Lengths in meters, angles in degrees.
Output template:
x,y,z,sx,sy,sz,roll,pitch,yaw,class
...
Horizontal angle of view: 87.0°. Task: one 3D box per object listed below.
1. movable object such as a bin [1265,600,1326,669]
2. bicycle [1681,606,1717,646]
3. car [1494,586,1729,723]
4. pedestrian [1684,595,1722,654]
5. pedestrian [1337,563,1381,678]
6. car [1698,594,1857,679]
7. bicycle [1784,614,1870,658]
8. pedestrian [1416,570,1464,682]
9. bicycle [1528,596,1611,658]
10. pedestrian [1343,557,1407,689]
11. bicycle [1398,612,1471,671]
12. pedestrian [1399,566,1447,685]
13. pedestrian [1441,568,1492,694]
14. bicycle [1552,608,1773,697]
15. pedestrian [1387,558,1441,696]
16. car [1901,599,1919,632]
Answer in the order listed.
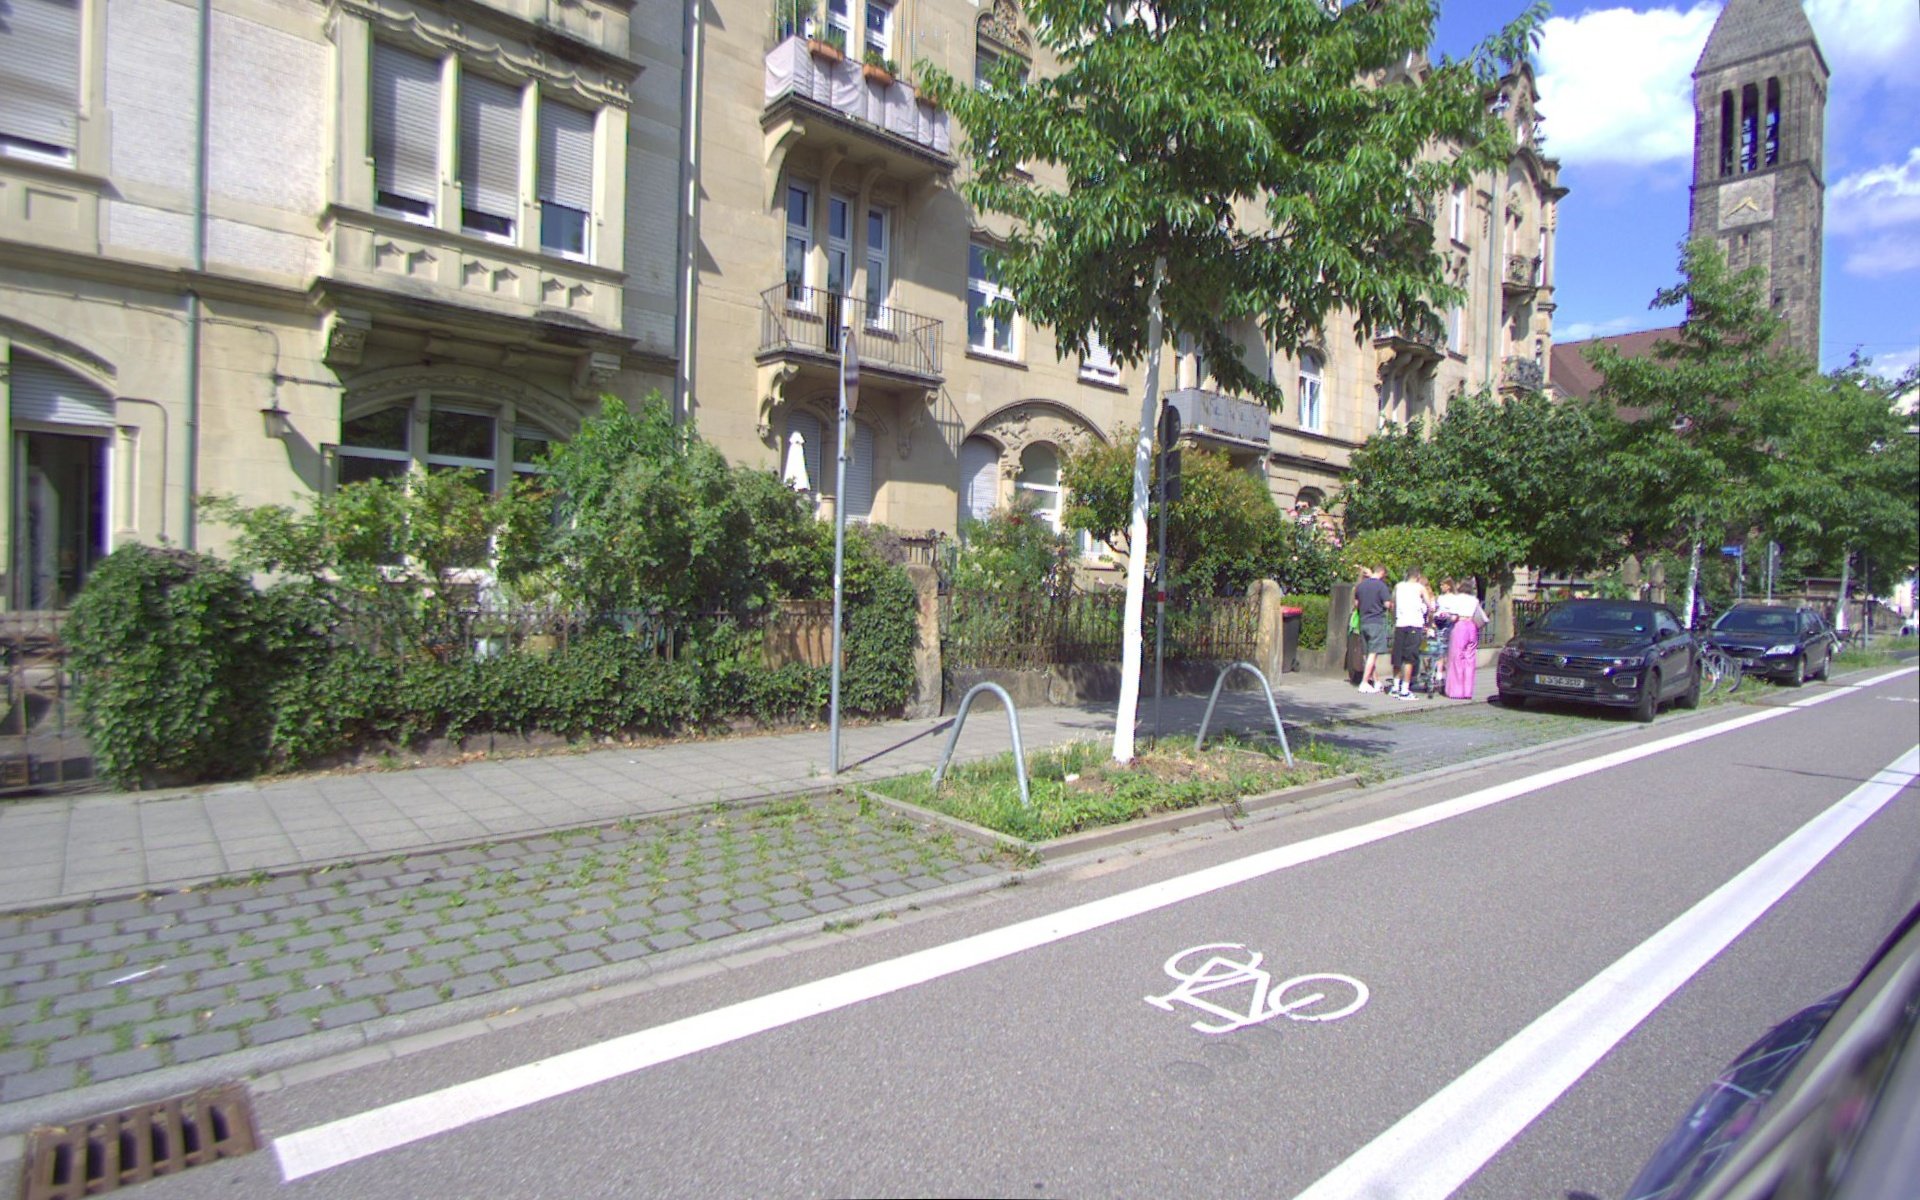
x,y,z,sx,sy,sz,roll,pitch,yaw,class
5.577,0.562,16.819,0.761,1.070,0.609,1,3,-40,movable object such as a bin
21.578,0.731,29.539,1.681,1.122,0.470,0,1,-41,bicycle
9.274,0.656,14.245,4.415,1.545,1.800,1,3,-45,car
21.381,0.699,29.113,0.712,1.649,0.724,1,1,-41,pedestrian
6.133,0.311,15.562,0.423,1.727,0.385,1,3,-41,pedestrian
16.748,0.676,20.650,4.625,1.521,1.689,1,1,-41,car
23.086,0.937,26.976,1.706,1.083,0.464,2,1,44,bicycle
7.588,0.390,15.986,0.526,1.696,0.568,4,3,31,pedestrian
13.587,0.569,22.503,2.891,1.263,0.659,0,4,-41,bicycle
5.949,0.315,14.527,0.314,1.826,0.670,1,3,-42,pedestrian
8.372,0.715,17.816,1.776,0.951,0.428,0,4,-41,bicycle
6.973,0.375,15.245,0.499,1.727,0.491,4,2,31,pedestrian
7.103,0.434,14.193,0.451,1.727,0.320,2,2,-27,pedestrian
11.608,0.818,16.839,2.939,1.262,0.782,2,1,37,bicycle
6.172,0.351,13.764,0.314,1.826,0.460,1,3,-42,pedestrian
43.163,0.707,44.563,3.768,1.434,1.674,1,-1,-33,car
